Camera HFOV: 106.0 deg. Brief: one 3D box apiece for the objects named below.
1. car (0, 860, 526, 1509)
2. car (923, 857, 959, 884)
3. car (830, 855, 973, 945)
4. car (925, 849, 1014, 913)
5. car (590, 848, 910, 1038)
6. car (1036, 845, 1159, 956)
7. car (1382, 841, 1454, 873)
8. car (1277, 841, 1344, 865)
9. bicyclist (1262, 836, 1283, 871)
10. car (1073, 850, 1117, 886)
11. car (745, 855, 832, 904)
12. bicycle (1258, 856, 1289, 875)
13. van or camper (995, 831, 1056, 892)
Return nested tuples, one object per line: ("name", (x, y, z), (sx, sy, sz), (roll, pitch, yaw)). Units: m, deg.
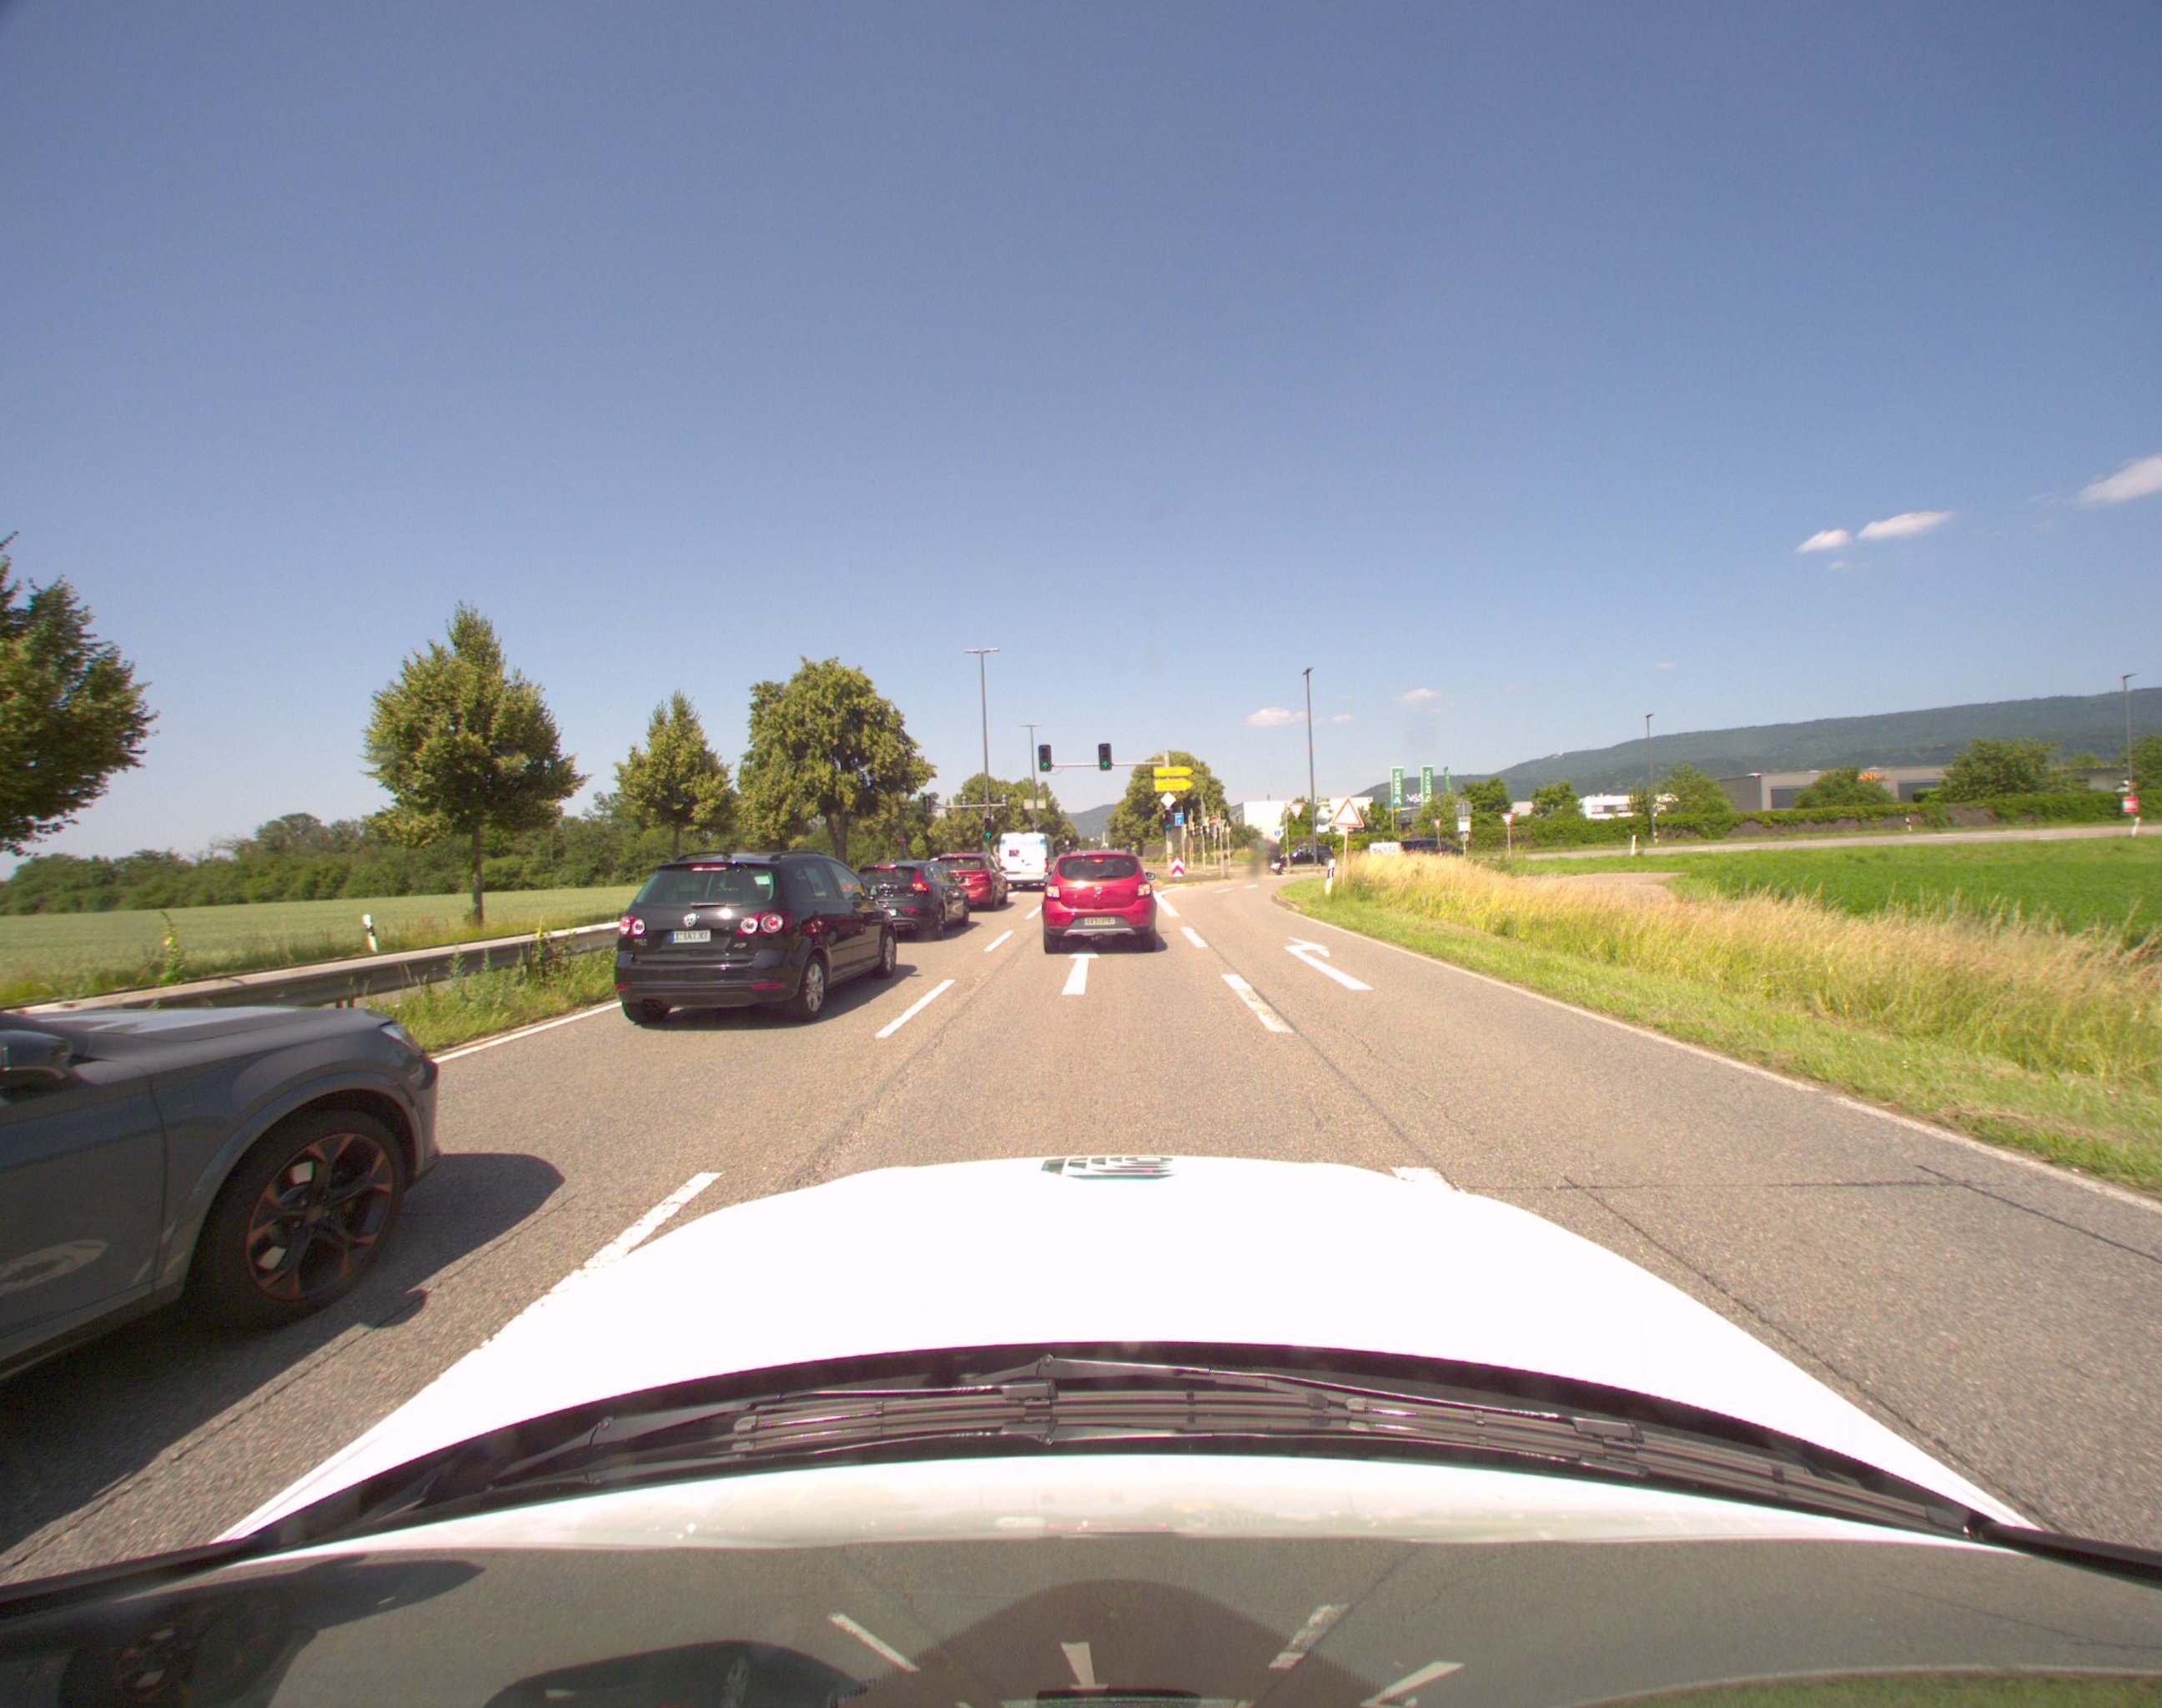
("car", (-3.436, 0.808, 1.483), (1.739, 1.503, 4.364), (-1, 0, 1))
("car", (-9.356, 1.085, 54.829), (1.741, 1.638, 4.133), (-3, 0, -2))
("car", (-3.291, 0.786, 15.713), (1.695, 1.442, 3.958), (-1, 1, 2))
("car", (-3.012, 0.673, 22.746), (1.717, 1.600, 3.958), (-1, 0, 2))
("car", (-3.233, 0.747, 8.884), (1.716, 1.575, 3.895), (-2, 0, 2))
("car", (0.348, 0.667, 13.637), (1.742, 1.575, 3.680), (-1, 0, 3))
("car", (18.249, 0.118, 43.994), (4.364, 1.616, 1.975), (-1, 0, -44))
("car", (14.763, -0.077, 52.586), (3.964, 1.327, 1.811), (-3, 0, 8))
("bicyclist", (9.980, -0.018, 42.470), (0.801, 1.771, 0.807), (-3, 0, -5))
("car", (0.670, 0.576, 35.544), (1.742, 1.458, 3.680), (-1, 0, 3))
("car", (-13.132, 1.067, 36.894), (1.987, 1.931, 5.016), (-3, 0, 0))
("bicycle", (10.022, 0.607, 42.498), (0.760, 0.915, 2.775), (-3, 0, -5))
("van or camper", (-2.176, 0.289, 33.500), (2.172, 2.302, 4.825), (-1, 0, 0))
